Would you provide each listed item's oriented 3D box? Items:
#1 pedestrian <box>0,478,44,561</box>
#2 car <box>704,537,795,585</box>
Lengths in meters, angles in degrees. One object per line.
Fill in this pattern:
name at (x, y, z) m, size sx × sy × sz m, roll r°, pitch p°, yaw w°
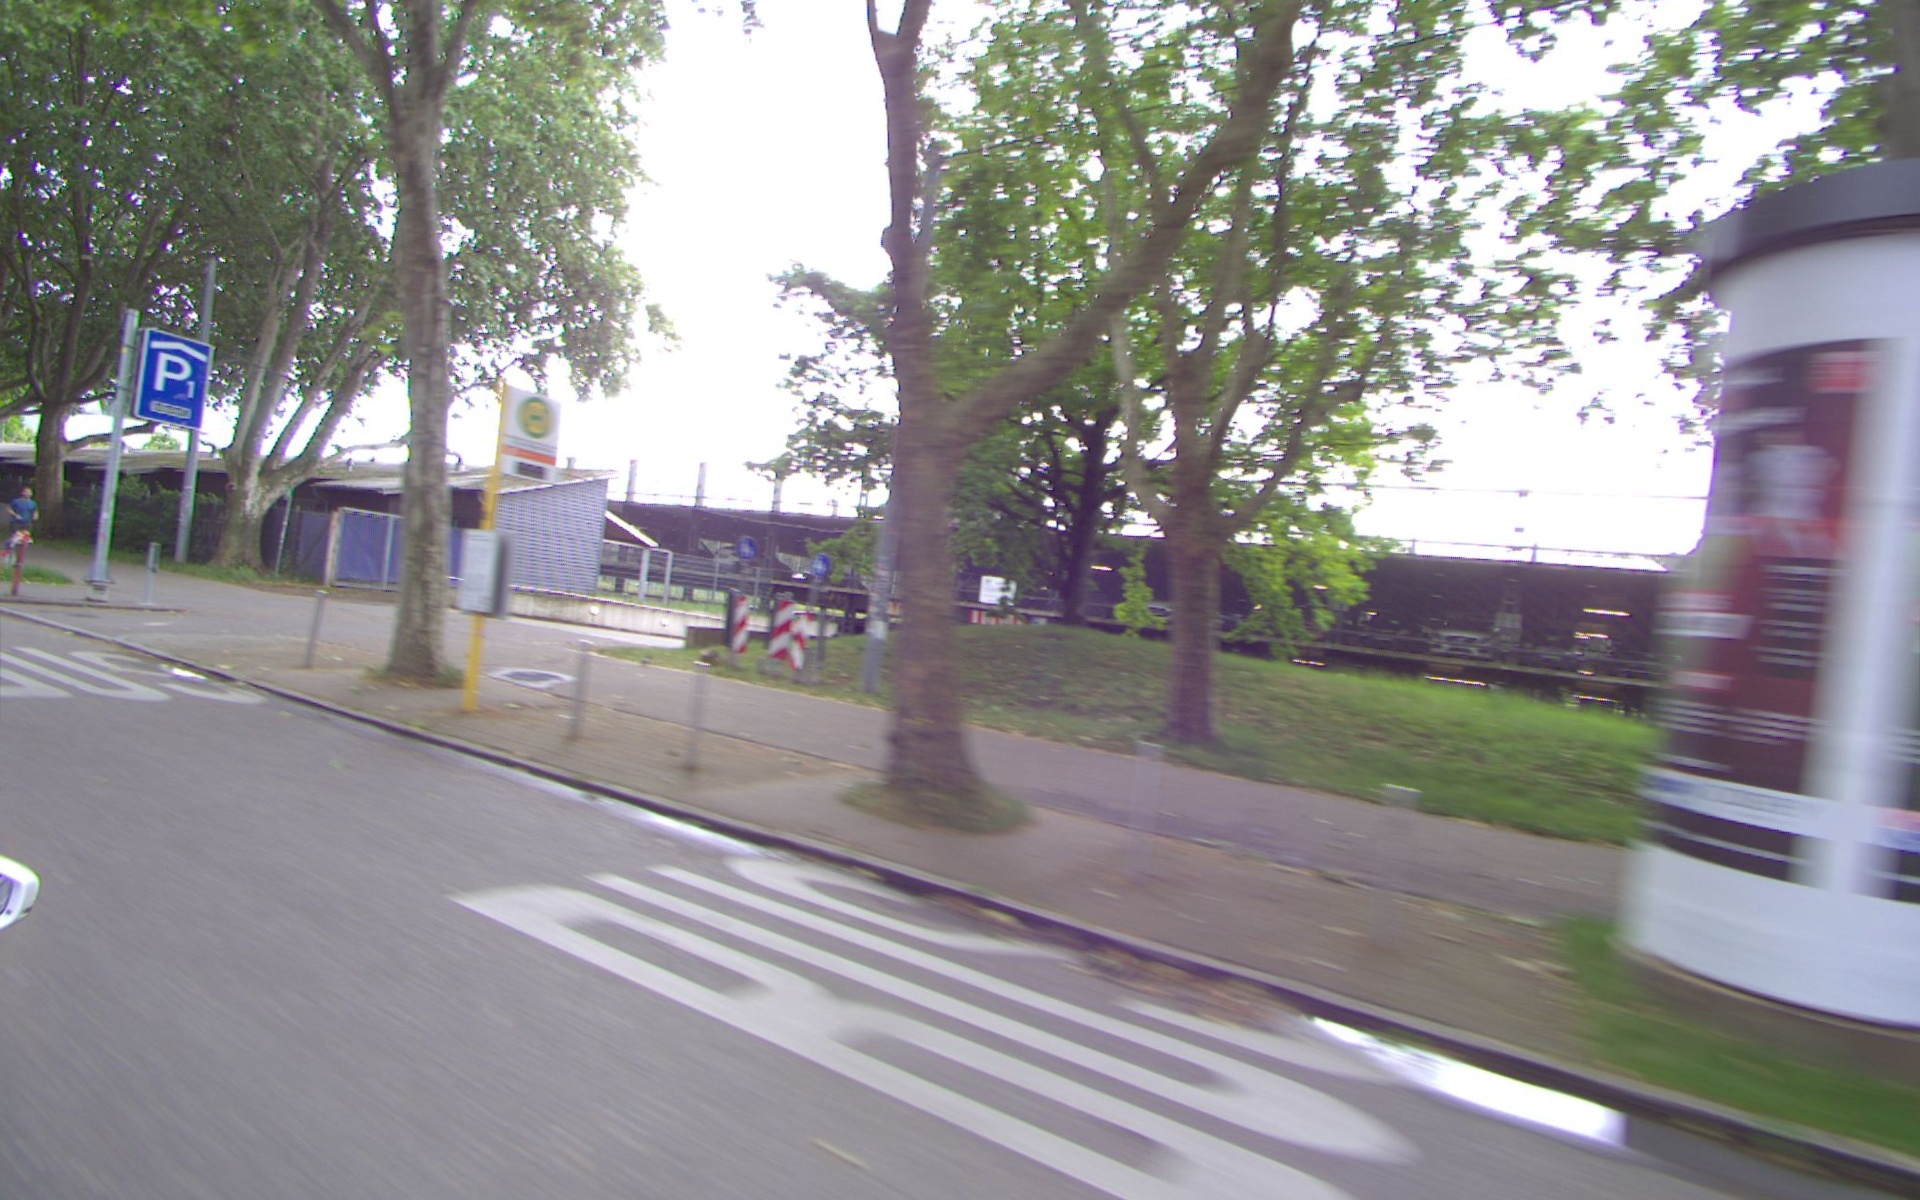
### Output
pedestrian at (-24.514, -2.084, 26.175) m, size 0.869 × 2.037 × 0.709 m, roll 6°, pitch -1°, yaw 40°
car at (-10.309, -1.895, 49.534) m, size 1.950 × 1.692 × 4.271 m, roll 6°, pitch -2°, yaw 29°
